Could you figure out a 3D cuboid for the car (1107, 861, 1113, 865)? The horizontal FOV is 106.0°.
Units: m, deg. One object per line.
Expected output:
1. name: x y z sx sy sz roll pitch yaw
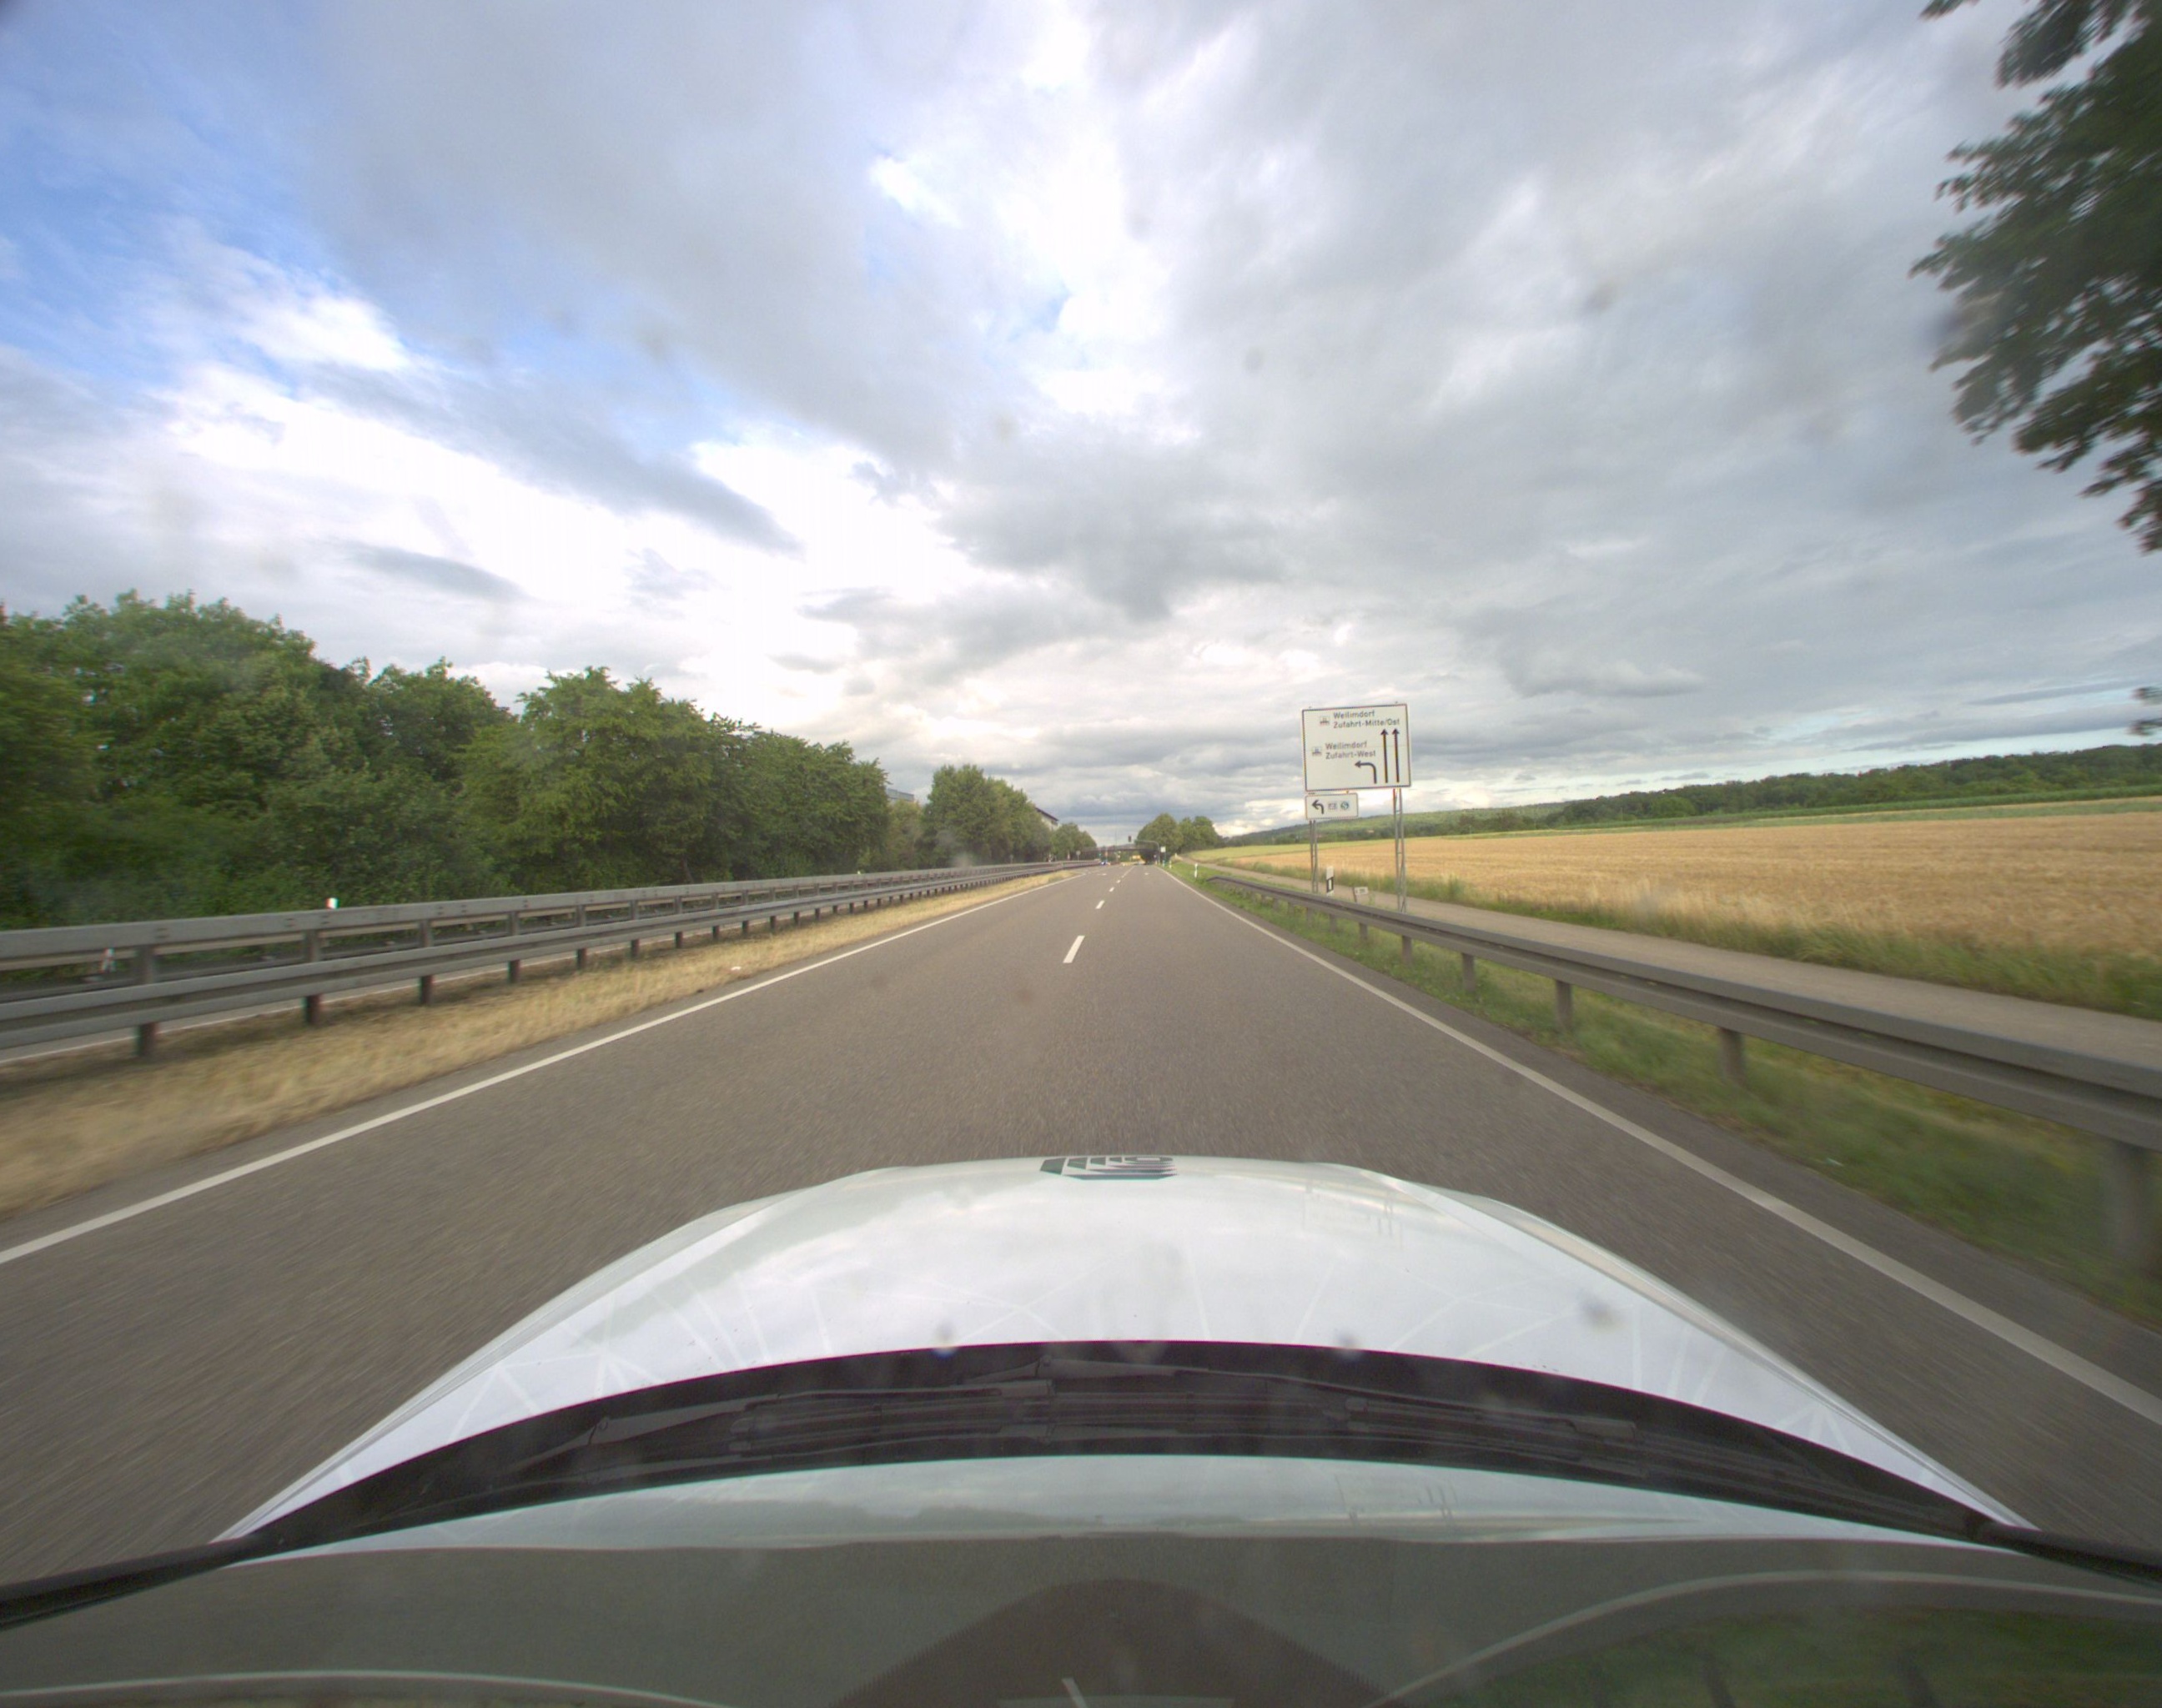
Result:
1. car: 7.875 2.411 218.877 1.351 1.092 2.926 -2 0 5
